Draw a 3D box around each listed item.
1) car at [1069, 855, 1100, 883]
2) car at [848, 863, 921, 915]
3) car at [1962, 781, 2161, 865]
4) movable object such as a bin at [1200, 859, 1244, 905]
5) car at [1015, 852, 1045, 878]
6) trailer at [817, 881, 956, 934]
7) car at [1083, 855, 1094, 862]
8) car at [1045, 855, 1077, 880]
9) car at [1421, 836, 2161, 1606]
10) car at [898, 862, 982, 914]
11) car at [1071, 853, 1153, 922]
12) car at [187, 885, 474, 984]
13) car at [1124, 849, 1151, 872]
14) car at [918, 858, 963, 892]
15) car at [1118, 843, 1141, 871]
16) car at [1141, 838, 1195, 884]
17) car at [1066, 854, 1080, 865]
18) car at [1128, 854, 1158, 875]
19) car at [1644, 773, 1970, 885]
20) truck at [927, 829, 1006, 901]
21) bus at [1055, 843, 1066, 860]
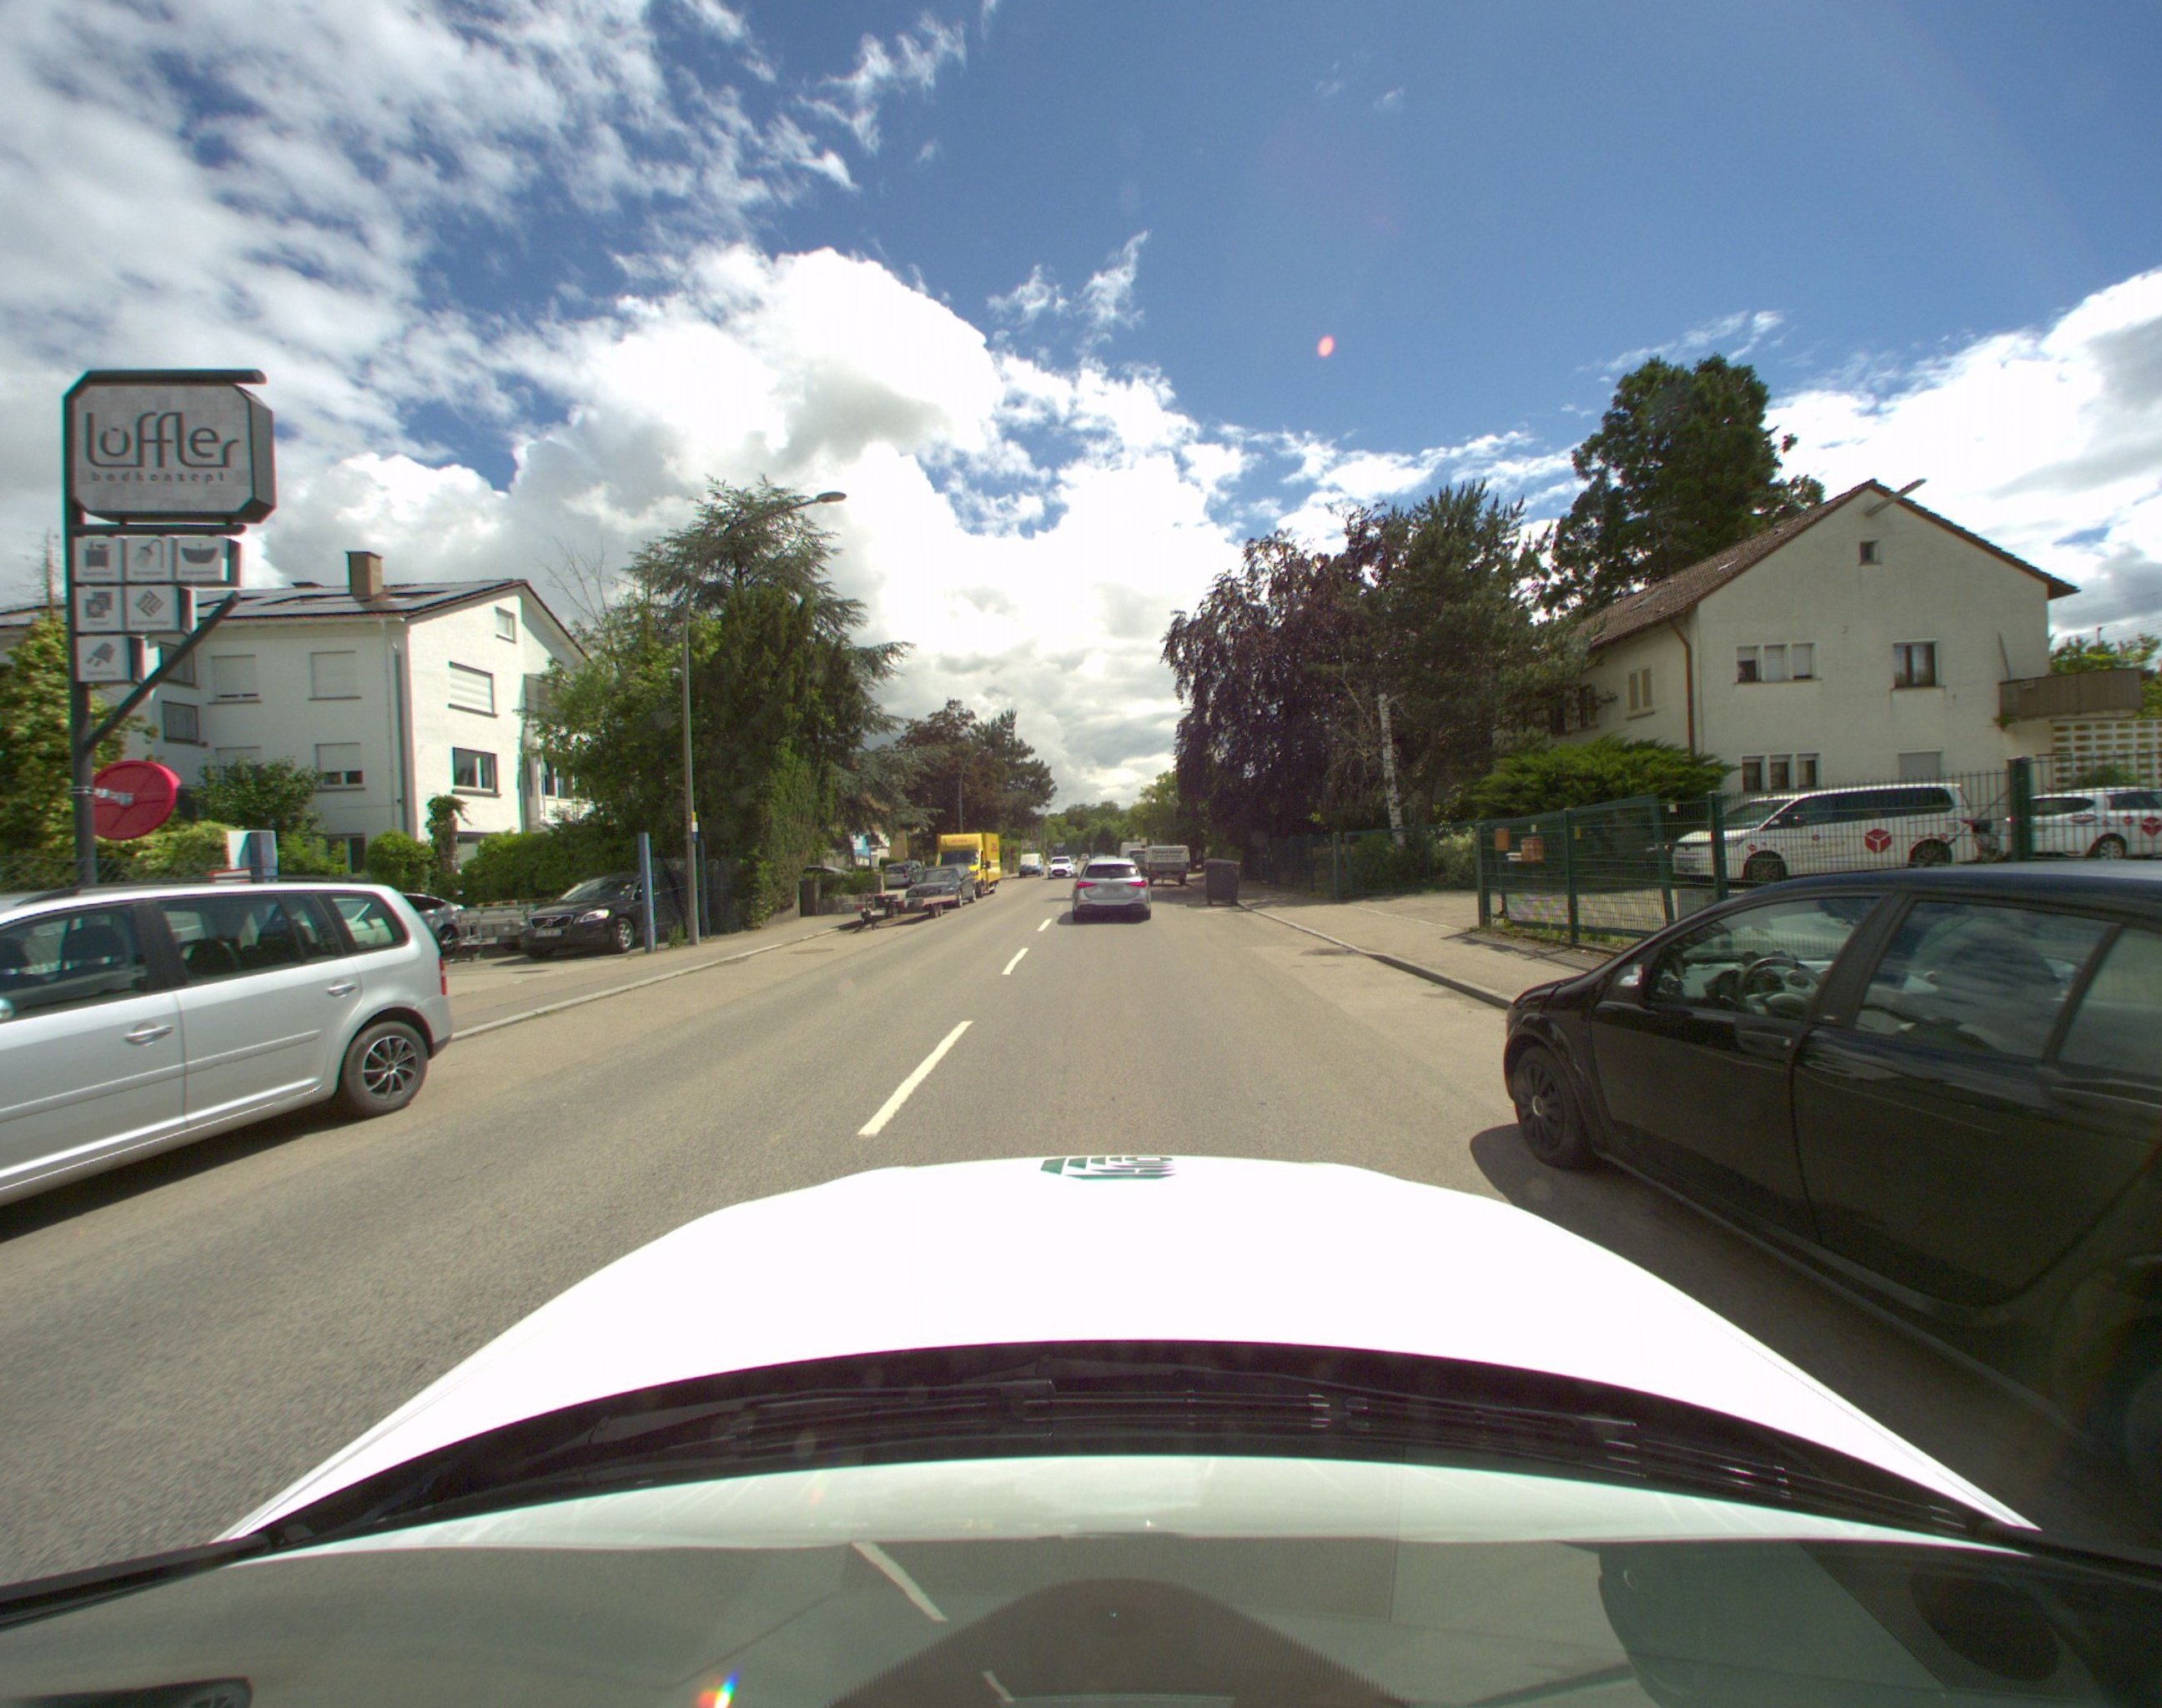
[{"bbox_3d":[0.238,0.876,49.551,1.750,1.558,4.000,-2,0,1],"label":"car"},{"bbox_3d":[-8.170,1.410,34.239,1.986,2.013,4.001,0,0,1],"label":"car"},{"bbox_3d":[21.586,-0.681,17.252,3.868,1.523,1.661,-4,0,3],"label":"car"},{"bbox_3d":[4.082,0.792,23.725,1.080,1.271,1.380,0,0,2],"label":"movable object such as a bin"},{"bbox_3d":[-4.047,0.836,65.816,1.927,1.918,4.365,-3,0,1],"label":"car"},{"bbox_3d":[-4.945,1.338,21.774,2.221,0.925,5.948,-2,0,0],"label":"trailer"},{"bbox_3d":[1.638,0.932,177.048,1.755,1.558,3.989,-2,0,-8],"label":"car"},{"bbox_3d":[-1.366,0.908,56.376,1.927,1.492,4.365,-3,0,1],"label":"car"},{"bbox_3d":[2.979,0.702,3.270,1.683,1.450,3.850,-3,0,2],"label":"car"},{"bbox_3d":[-4.837,1.121,28.627,2.068,1.478,4.457,-3,0,0],"label":"car"},{"bbox_3d":[0.672,0.767,20.082,1.779,1.484,4.315,-1,-1,0],"label":"car"},{"bbox_3d":[-15.597,1.587,17.352,1.987,1.544,4.375,-3,0,-1],"label":"car"},{"bbox_3d":[4.481,0.535,64.664,1.779,1.715,4.315,-1,-1,0],"label":"car"},{"bbox_3d":[-8.695,1.260,50.590,1.986,2.013,4.001,0,0,1],"label":"car"},{"bbox_3d":[4.552,0.271,76.871,1.779,2.518,4.315,-1,-1,0],"label":"car"},{"bbox_3d":[4.098,0.313,39.271,2.136,1.984,5.263,-3,0,2],"label":"car"},{"bbox_3d":[-1.287,0.860,130.523,1.927,1.492,4.365,-3,0,1],"label":"car"},{"bbox_3d":[4.478,0.763,59.357,1.779,1.484,4.315,-1,-1,0],"label":"car"},{"bbox_3d":[15.439,-0.509,17.584,4.994,1.929,2.003,-4,0,4],"label":"car"},{"bbox_3d":[-4.958,0.411,36.545,2.067,2.814,7.083,-3,0,3],"label":"truck"},{"bbox_3d":[-4.201,-0.486,163.891,1.989,3.364,6.973,0,0,-4],"label":"bus"}]
